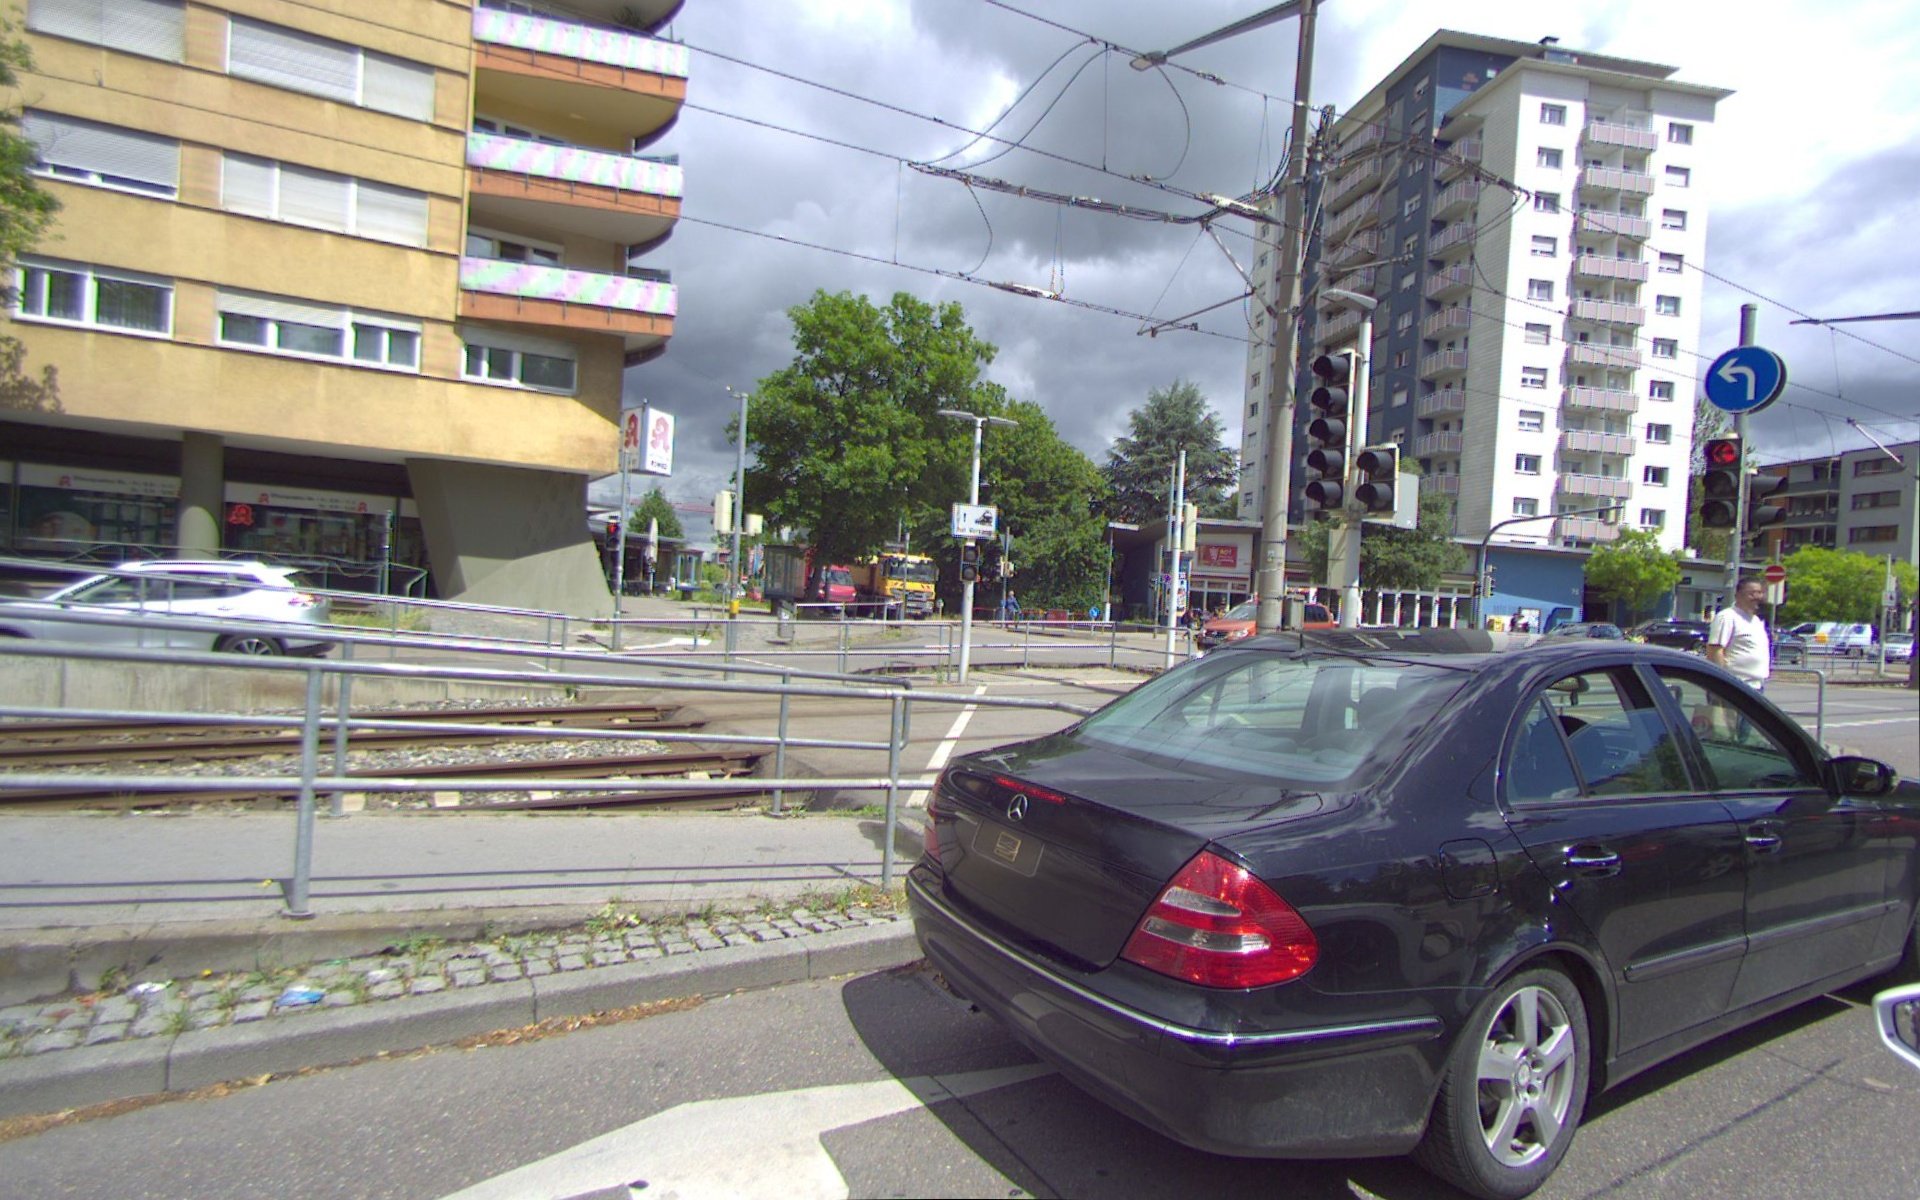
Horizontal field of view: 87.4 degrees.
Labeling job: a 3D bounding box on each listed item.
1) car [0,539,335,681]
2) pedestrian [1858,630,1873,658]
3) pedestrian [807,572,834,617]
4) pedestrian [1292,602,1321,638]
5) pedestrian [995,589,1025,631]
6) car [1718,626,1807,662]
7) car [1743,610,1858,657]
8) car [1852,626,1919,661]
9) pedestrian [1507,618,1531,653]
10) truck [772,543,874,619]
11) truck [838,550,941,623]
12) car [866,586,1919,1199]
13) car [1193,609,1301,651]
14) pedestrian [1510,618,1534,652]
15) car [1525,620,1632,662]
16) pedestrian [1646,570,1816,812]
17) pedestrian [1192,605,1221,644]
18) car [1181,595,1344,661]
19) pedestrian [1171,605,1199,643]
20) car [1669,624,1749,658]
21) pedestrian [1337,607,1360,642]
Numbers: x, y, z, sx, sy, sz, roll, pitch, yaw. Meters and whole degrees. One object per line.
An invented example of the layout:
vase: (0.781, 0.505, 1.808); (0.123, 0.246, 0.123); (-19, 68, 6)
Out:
car: (-11.649, 0.169, 14.384); (4.456, 1.825, 1.984); (1, -1, -30)
pedestrian: (56.254, 2.738, 62.414); (0.663, 1.739, 0.542); (1, 1, -40)
pedestrian: (-5.241, -0.215, 37.809); (0.770, 1.638, 0.759); (-1, 5, -29)
pedestrian: (19.040, 1.084, 55.171); (1.200, 1.942, 0.860); (1, 1, -30)
pedestrian: (2.094, 0.417, 41.947); (0.773, 1.636, 0.758); (6, 2, -35)
car: (34.895, 1.914, 43.652); (4.445, 1.418, 1.625); (2, 0, -33)
car: (49.799, 1.892, 59.765); (2.776, 2.512, 6.724); (2, 0, 17)
car: (48.992, 2.259, 52.843); (3.827, 1.715, 1.928); (2, 0, -30)
pedestrian: (27.691, 1.759, 49.750); (0.932, 1.681, 1.096); (1, -1, 34)
truck: (-6.839, -0.871, 48.797); (2.692, 3.320, 8.877); (1, 0, -22)
truck: (-3.595, -0.620, 49.209); (2.733, 3.244, 7.443); (1, 0, -23)
car: (2.057, 0.760, 3.801); (4.490, 1.481, 1.720); (2, 0, -30)
car: (11.192, 1.137, 39.170); (3.920, 1.416, 1.699); (2, 0, 18)
pedestrian: (28.386, 1.756, 50.743); (0.932, 1.681, 1.096); (1, -1, 34)
car: (22.723, 1.489, 36.844); (4.206, 1.432, 1.621); (2, 0, -32)
pedestrian: (6.235, 0.688, 8.144); (0.734, 1.832, 0.863); (1, 1, -33)
pedestrian: (11.192, 1.107, 45.586); (0.977, 1.681, 0.969); (2, -1, -4)
car: (8.313, 0.771, 27.509); (4.415, 1.656, 1.981); (1, -1, -35)
pedestrian: (10.160, 1.074, 45.446); (0.977, 1.681, 0.969); (2, -1, -4)
car: (40.041, 2.165, 53.821); (1.921, 1.591, 4.220); (2, 0, 13)
pedestrian: (18.723, 1.164, 48.403); (0.693, 1.637, 0.760); (1, 1, -43)
